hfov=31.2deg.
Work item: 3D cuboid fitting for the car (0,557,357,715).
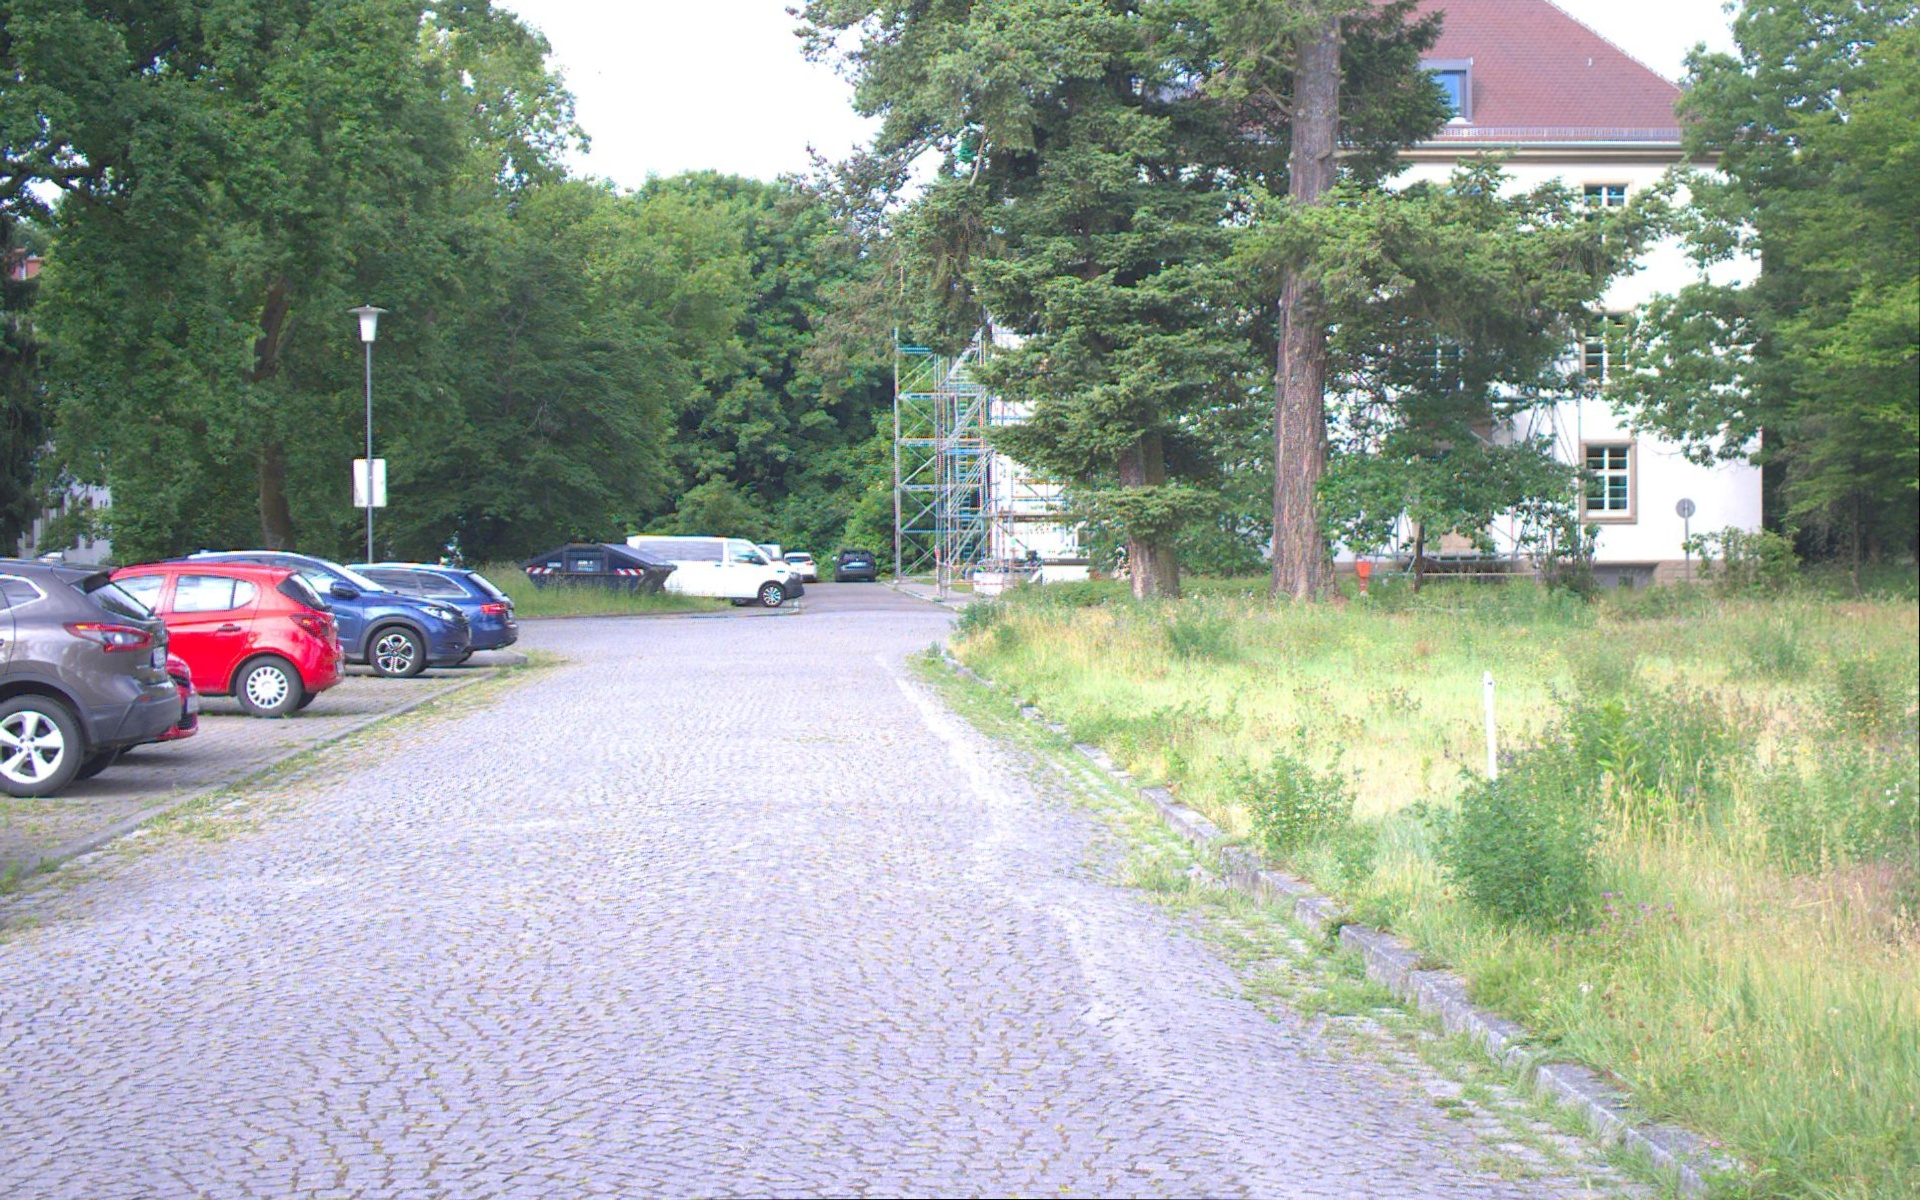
[{"bbox_3d":[-7.953,0.334,33.761,3.815,1.484,1.788,0,1,-3],"label":"car"}]

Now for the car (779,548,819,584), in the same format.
[{"bbox_3d":[-7.701,-1.604,163.856,1.790,1.630,4.061,0,-1,-4],"label":"car"}]

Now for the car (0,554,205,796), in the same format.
[{"bbox_3d":[-7.361,0.476,23.461,4.067,1.570,1.955,0,1,-4],"label":"car"}]

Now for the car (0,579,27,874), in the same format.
[{"bbox_3d":[-6.757,0.643,17.192,3.793,1.488,1.726,0,1,-5],"label":"car"}]

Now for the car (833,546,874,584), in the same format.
[{"bbox_3d":[-5.095,-1.661,164.287,1.790,1.714,4.061,0,-1,-4],"label":"car"}]

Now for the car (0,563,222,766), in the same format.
[{"bbox_3d":[-7.708,0.462,26.236,3.815,1.481,1.762,0,1,-3],"label":"car"}]

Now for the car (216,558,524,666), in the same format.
[{"bbox_3d":[-8.330,0.154,48.706,4.071,1.462,1.626,0,1,1],"label":"car"}]

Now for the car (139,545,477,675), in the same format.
[{"bbox_3d":[-8.298,0.115,44.005,4.071,1.598,1.788,0,1,-4],"label":"car"}]

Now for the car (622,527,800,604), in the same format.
[{"bbox_3d":[-7.069,-0.975,97.774,4.977,2.065,2.052,1,-1,-4],"label":"car"}]
